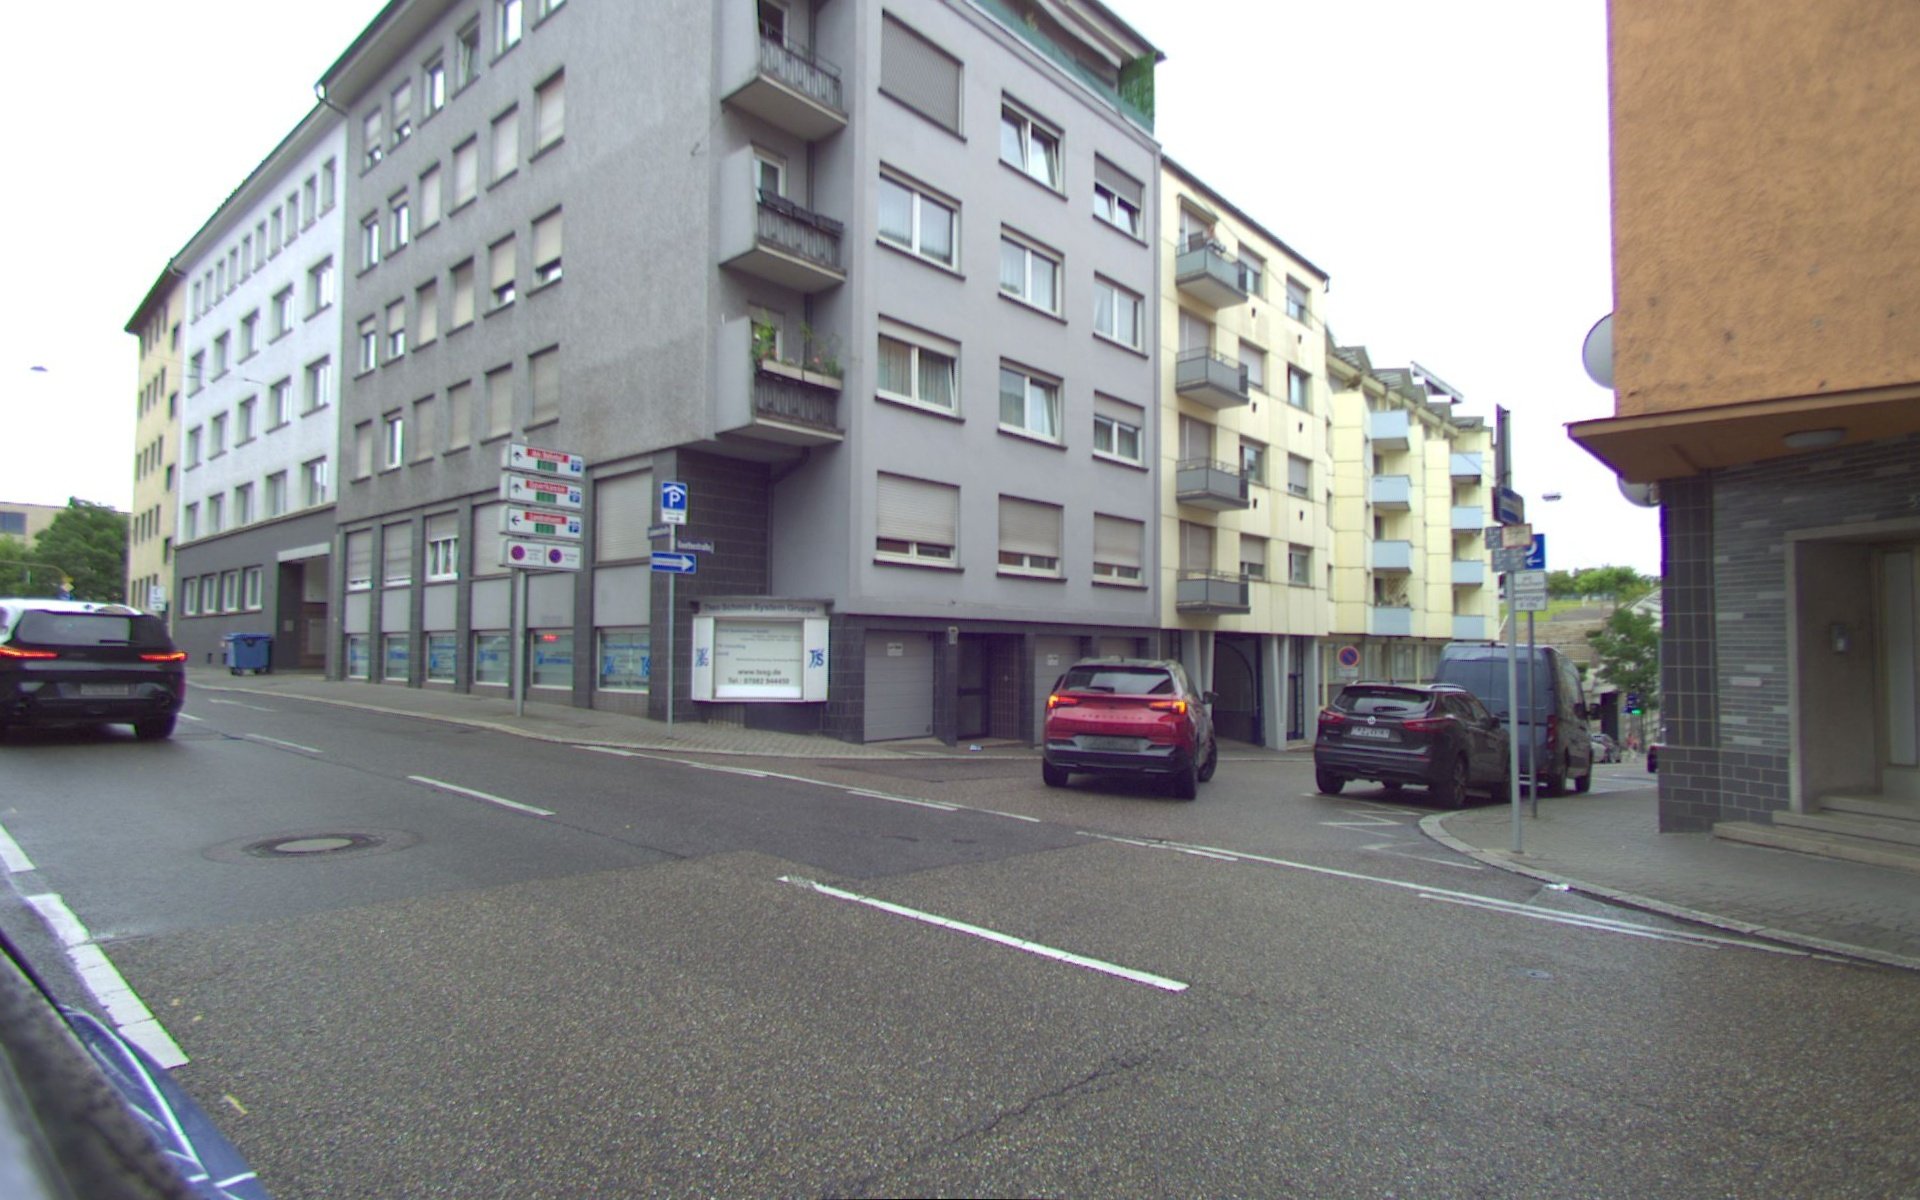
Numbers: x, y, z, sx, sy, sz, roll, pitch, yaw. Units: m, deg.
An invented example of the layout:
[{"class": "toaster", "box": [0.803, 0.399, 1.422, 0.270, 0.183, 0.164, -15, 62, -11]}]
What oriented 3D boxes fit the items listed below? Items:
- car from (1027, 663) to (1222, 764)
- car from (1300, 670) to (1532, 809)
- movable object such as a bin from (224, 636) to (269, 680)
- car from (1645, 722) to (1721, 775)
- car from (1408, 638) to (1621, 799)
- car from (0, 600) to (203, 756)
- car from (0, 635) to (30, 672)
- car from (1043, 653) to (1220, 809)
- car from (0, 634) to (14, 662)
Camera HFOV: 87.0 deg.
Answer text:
[{"class": "car", "box": [3.335, 2.272, 19.921, 1.794, 1.700, 4.186, -1, -8, 41]}, {"class": "car", "box": [6.472, 1.944, 14.109, 1.842, 1.589, 4.098, -1, -8, 41]}, {"class": "movable object such as a bin", "box": [-22.846, 1.841, 32.393, 1.096, 1.343, 0.933, -1, 0, 41]}, {"class": "car", "box": [25.932, 5.327, 36.244, 1.817, 1.688, 3.998, -1, -8, 41]}, {"class": "car", "box": [10.451, 2.202, 18.778, 2.249, 2.481, 5.975, -1, -7, 41]}, {"class": "car", "box": [-12.062, 0.962, 13.478, 4.815, 1.734, 2.104, -1, -5, 41]}, {"class": "car", "box": [-44.340, 2.448, 46.516, 4.371, 1.602, 1.858, -1, -3, 41]}, {"class": "car", "box": [2.384, 1.550, 13.082, 1.787, 1.596, 4.293, 1, -4, 16]}, {"class": "car", "box": [-52.922, 2.528, 53.595, 1.738, 1.519, 3.944, -1, -3, 42]}]
